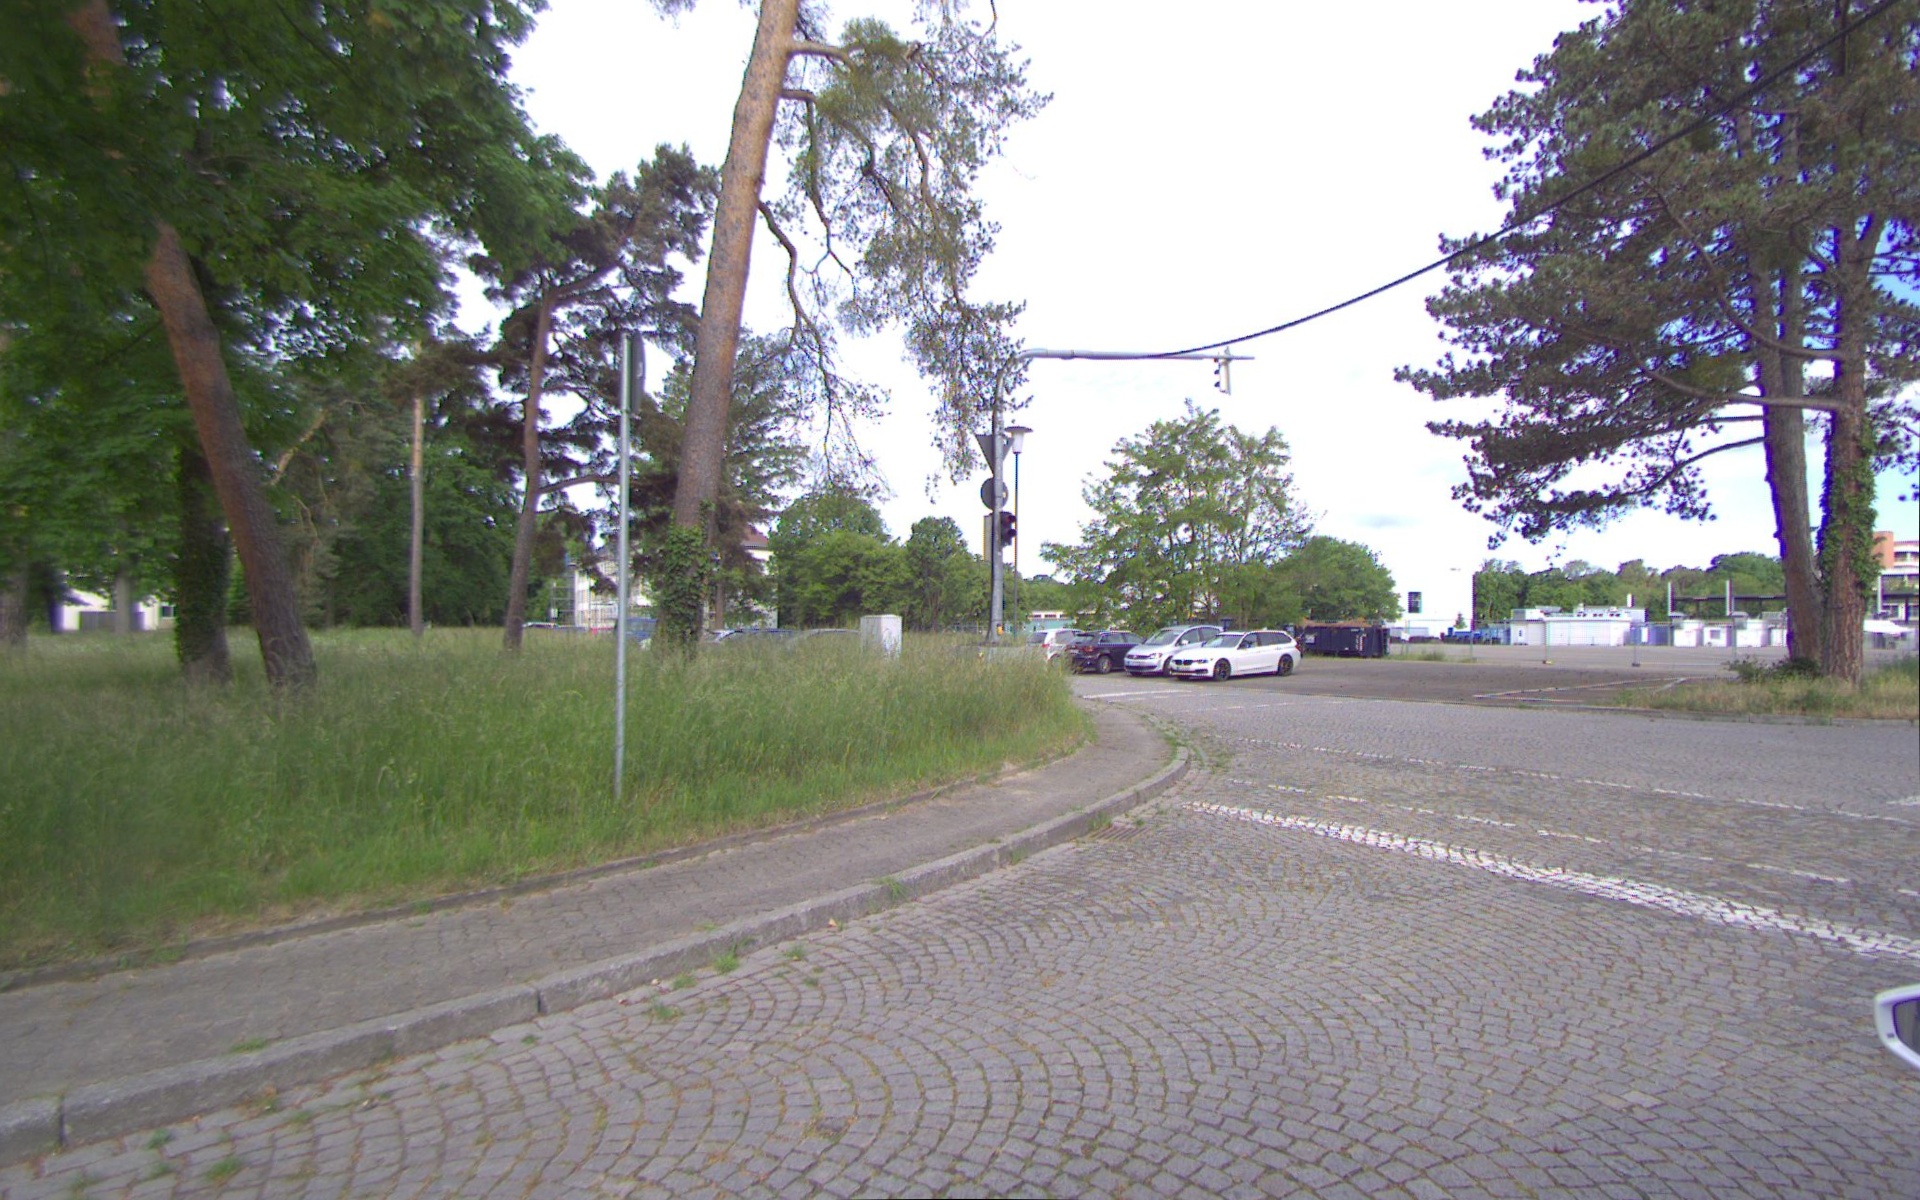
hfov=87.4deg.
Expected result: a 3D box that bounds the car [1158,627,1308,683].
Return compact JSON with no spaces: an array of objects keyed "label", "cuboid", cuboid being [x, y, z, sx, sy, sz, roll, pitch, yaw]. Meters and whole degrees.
[{"label":"car","cuboid":[8.473,1.650,31.010,4.688,1.461,1.800,-1,0,-33]}]

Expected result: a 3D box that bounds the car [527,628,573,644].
[{"label":"car","cuboid":[-51.093,4.492,125.185,5.102,2.040,1.984,1,-2,-30]}]

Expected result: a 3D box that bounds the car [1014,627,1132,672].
[{"label":"car","cuboid":[4.267,1.819,37.716,4.280,1.587,1.783,1,-2,-33]}]

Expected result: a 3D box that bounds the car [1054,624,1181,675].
[{"label":"car","cuboid":[5.580,1.688,35.387,4.279,1.522,1.844,-2,0,-33]}]

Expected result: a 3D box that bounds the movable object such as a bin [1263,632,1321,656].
[{"label":"movable object such as a bin","cuboid":[14.888,1.961,45.024,2.631,1.061,1.170,1,-2,-35]}]

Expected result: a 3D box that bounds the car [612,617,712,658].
[{"label":"car","cuboid":[-15.522,1.924,52.391,4.736,2.007,1.983,0,-1,-29]}]

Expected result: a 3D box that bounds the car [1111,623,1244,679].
[{"label":"car","cuboid":[7.198,1.629,33.149,4.279,1.605,1.811,-2,0,-33]}]
